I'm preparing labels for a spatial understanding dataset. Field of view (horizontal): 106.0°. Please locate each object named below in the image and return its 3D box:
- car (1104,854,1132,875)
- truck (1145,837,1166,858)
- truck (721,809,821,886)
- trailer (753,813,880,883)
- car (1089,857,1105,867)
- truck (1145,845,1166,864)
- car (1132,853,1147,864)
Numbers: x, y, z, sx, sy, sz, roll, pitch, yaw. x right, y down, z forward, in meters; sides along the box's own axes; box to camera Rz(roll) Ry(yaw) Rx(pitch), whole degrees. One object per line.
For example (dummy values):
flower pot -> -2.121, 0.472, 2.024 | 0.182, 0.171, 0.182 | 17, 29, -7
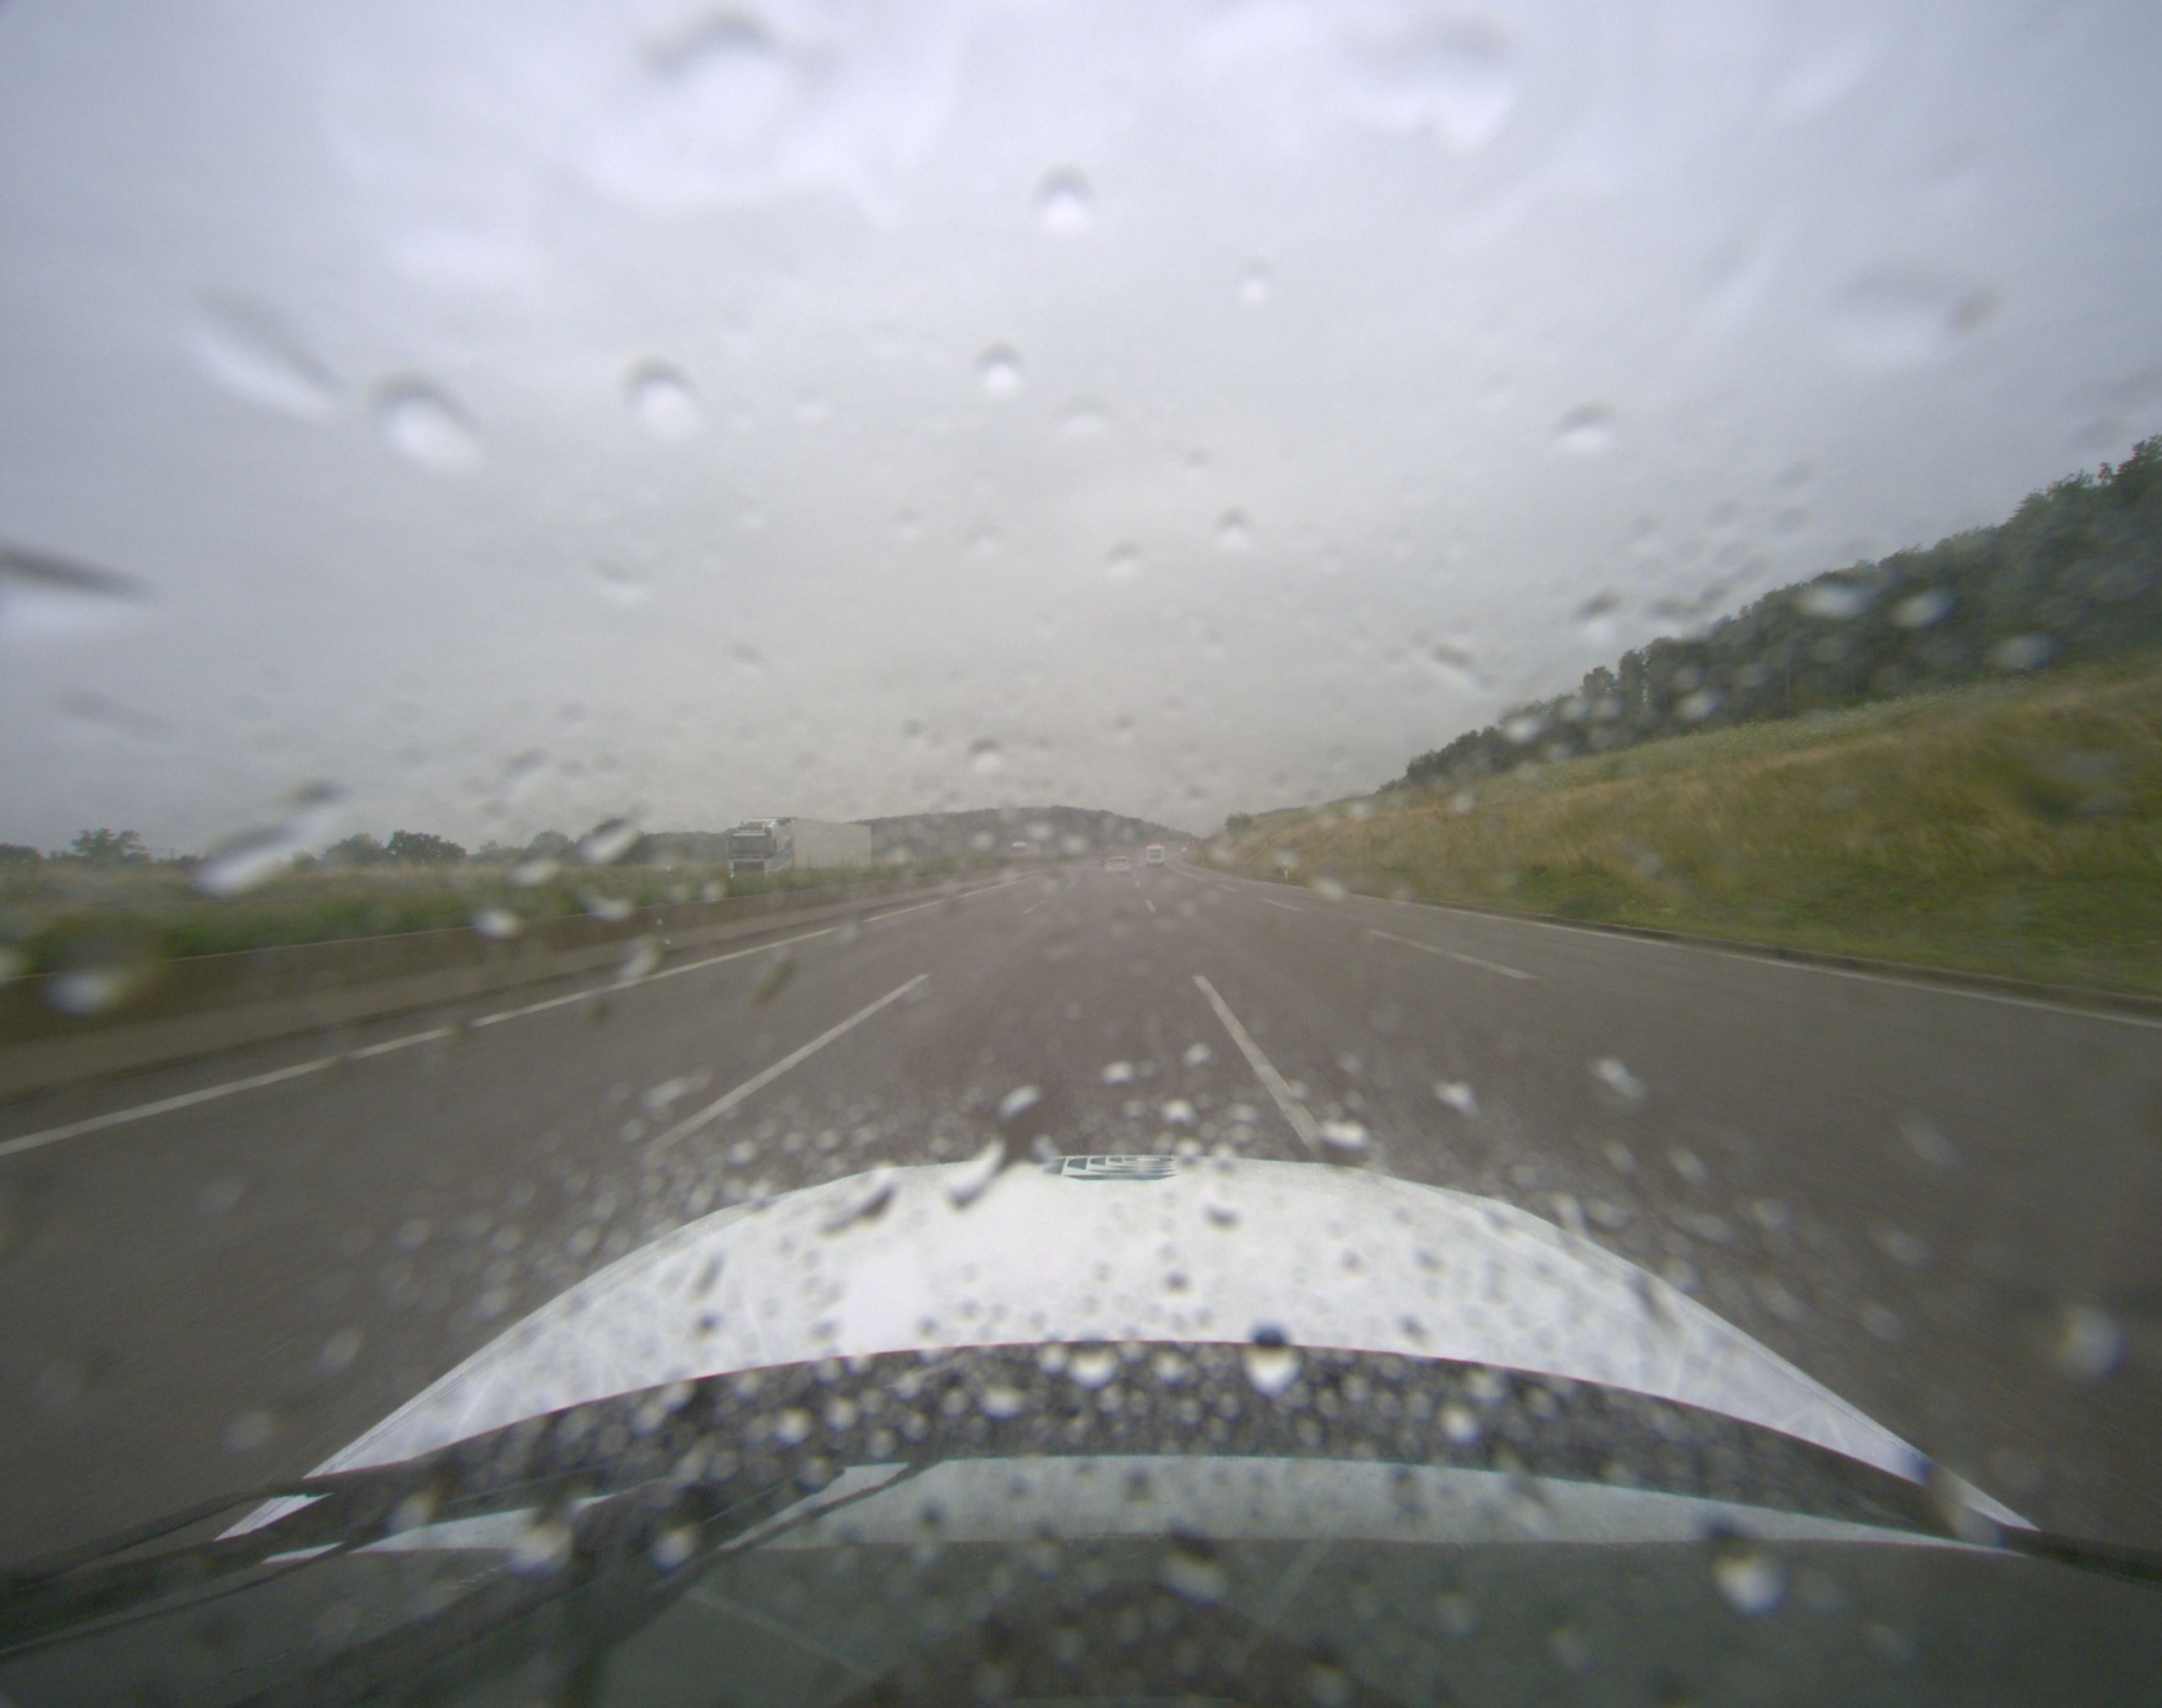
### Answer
car -> 2.650, 0.749, 58.694 | 1.861, 1.463, 4.000 | -1, -1, 1
truck -> 13.610, -1.257, 149.404 | 3.511, 3.742, 11.439 | -1, 1, 4
truck -> -17.335, -0.336, 45.994 | 2.941, 3.994, 6.222 | -1, 0, 3
trailer -> -16.910, -0.341, 53.791 | 2.932, 3.982, 14.317 | -1, 0, 3
car -> 1.936, 0.946, 100.071 | 1.818, 1.156, 4.212 | -1, -1, 0
truck -> 9.221, 0.101, 101.359 | 2.398, 2.252, 4.695 | -1, 0, 2
car -> 9.261, 0.672, 129.255 | 1.987, 1.618, 4.000 | -1, 0, 0
